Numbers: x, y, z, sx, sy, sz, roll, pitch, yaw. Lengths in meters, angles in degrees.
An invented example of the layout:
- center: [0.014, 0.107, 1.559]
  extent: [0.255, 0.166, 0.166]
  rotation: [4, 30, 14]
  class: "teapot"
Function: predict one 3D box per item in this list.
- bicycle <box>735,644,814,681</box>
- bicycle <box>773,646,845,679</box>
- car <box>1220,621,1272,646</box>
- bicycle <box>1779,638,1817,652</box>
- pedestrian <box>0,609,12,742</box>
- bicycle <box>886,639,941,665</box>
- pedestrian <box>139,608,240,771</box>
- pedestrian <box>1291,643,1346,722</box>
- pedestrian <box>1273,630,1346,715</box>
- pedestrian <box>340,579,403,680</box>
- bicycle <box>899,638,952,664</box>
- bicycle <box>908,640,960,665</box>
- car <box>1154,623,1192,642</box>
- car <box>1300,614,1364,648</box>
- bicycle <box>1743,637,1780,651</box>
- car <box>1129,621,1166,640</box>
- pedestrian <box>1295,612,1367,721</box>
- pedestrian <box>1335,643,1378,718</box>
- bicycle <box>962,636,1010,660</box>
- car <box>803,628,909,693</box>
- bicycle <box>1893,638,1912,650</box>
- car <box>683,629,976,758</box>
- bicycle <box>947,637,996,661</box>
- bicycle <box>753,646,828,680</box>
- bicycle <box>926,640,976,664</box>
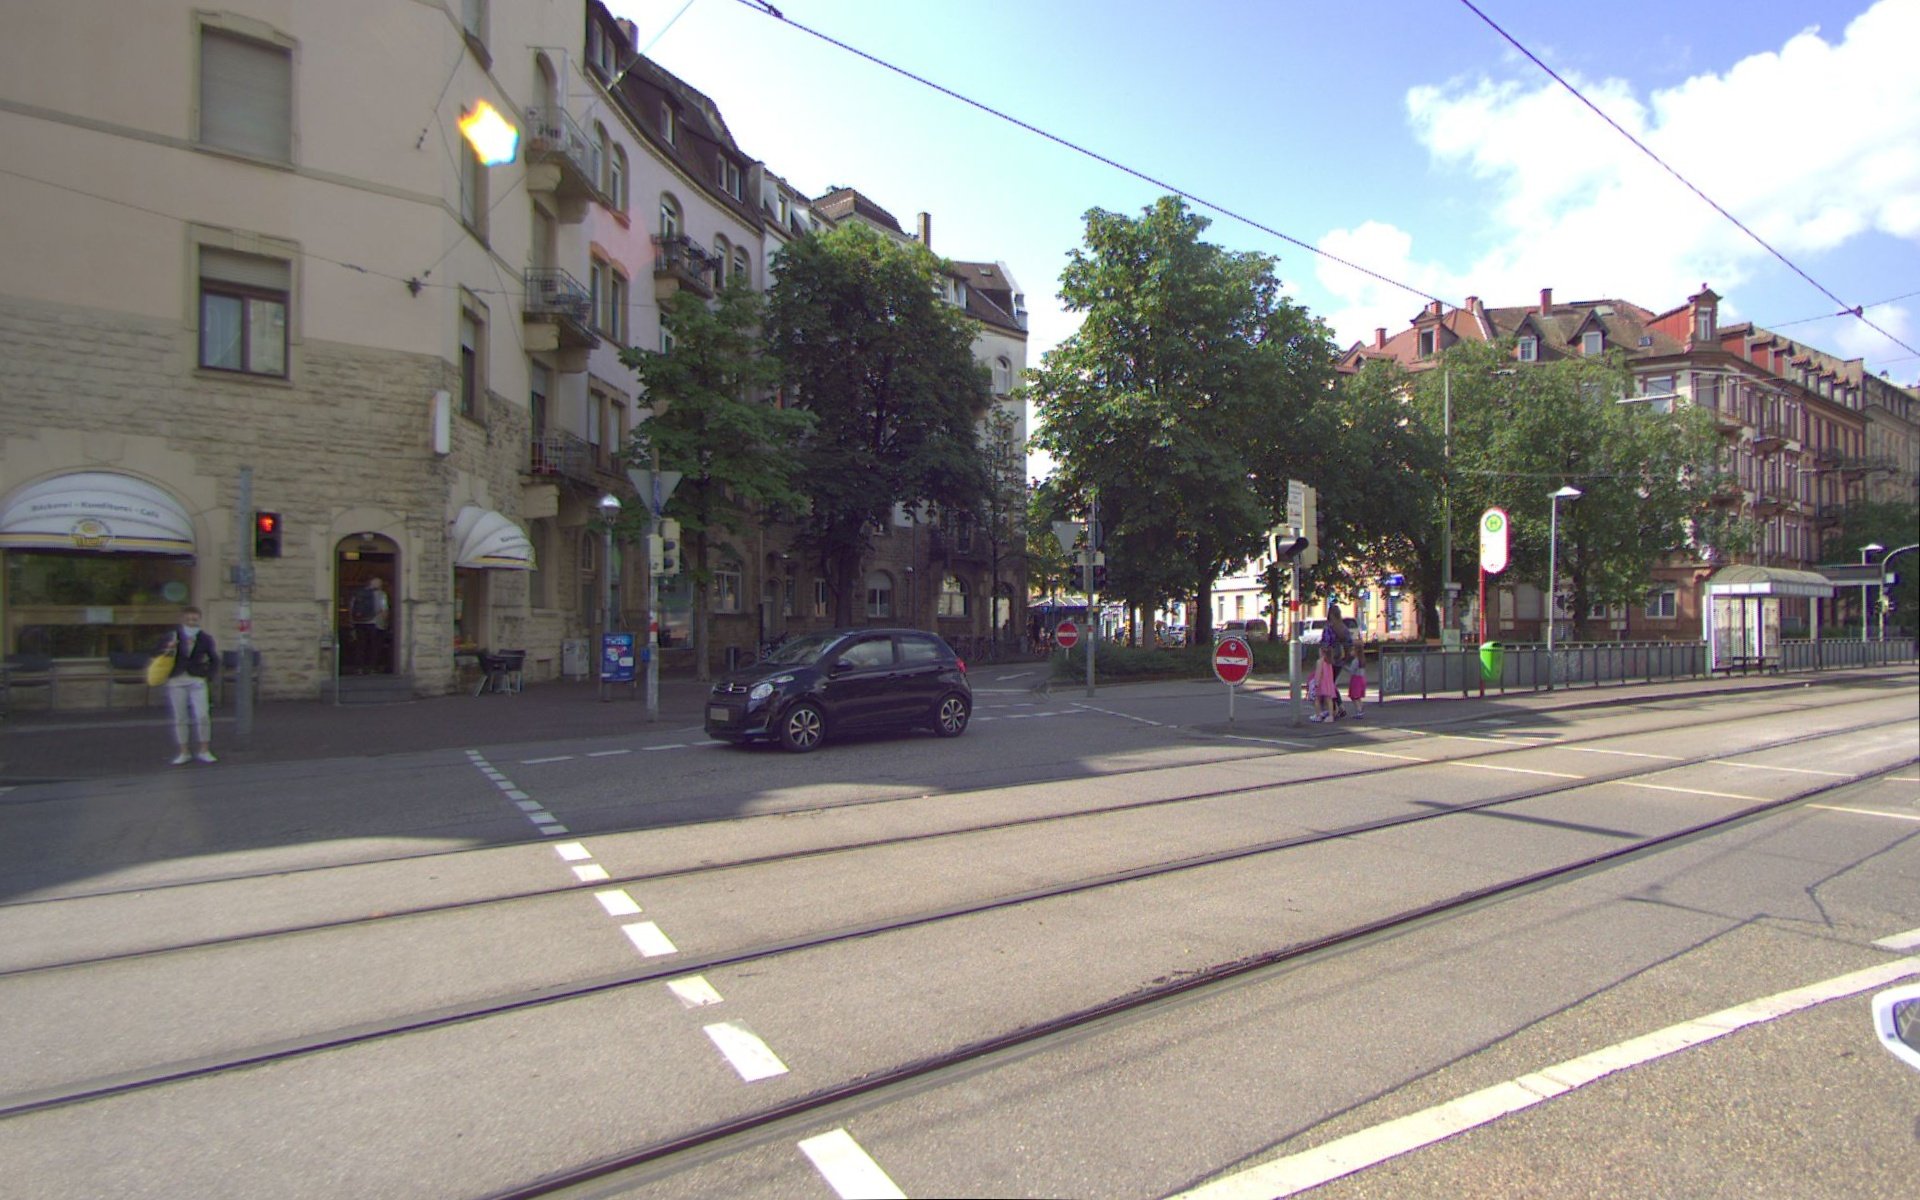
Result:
- center: [-4.933, 1.654, 26.738]
  extent: [1.990, 0.894, 0.523]
  rotation: [1, -1, 11]
  class: "bicycle"
- center: [-4.388, 1.807, 29.265]
  extent: [1.990, 0.894, 0.512]
  rotation: [1, -1, 11]
  class: "bicycle"
- center: [19.993, 2.357, 70.267]
  extent: [1.883, 1.685, 3.932]
  rotation: [0, -1, -12]
  class: "car"
- center: [45.276, 2.440, 54.274]
  extent: [1.677, 0.757, 0.386]
  rotation: [0, -1, 1]
  class: "bicycle"
- center: [-12.013, 0.904, 12.023]
  extent: [0.957, 1.562, 0.686]
  rotation: [0, 3, -44]
  class: "pedestrian"
- center: [-1.754, 1.950, 37.813]
  extent: [1.992, 0.910, 0.572]
  rotation: [1, -1, 22]
  class: "bicycle"
- center: [-8.720, 0.976, 11.397]
  extent: [0.865, 1.727, 0.751]
  rotation: [1, 3, -36]
  class: "pedestrian"
- center: [5.277, 1.200, 14.788]
  extent: [0.440, 1.128, 0.636]
  rotation: [1, -2, -40]
  class: "pedestrian"
- center: [5.587, 1.147, 16.050]
  extent: [0.711, 1.320, 0.819]
  rotation: [1, -4, -40]
  class: "pedestrian"
- center: [-10.178, 0.506, 17.375]
  extent: [0.849, 1.695, 0.814]
  rotation: [1, -1, -37]
  class: "pedestrian"
- center: [-1.339, 1.960, 38.700]
  extent: [1.992, 0.910, 0.572]
  rotation: [1, -1, 25]
  class: "bicycle"
- center: [-1.015, 2.039, 39.434]
  extent: [1.992, 0.910, 0.572]
  rotation: [1, -1, 25]
  class: "bicycle"
- center: [17.123, 2.586, 80.877]
  extent: [1.603, 1.513, 3.636]
  rotation: [0, -1, -15]
  class: "car"
- center: [22.411, 1.839, 60.615]
  extent: [1.824, 2.015, 3.940]
  rotation: [0, -1, -11]
  class: "car"
- center: [43.312, 2.386, 54.275]
  extent: [1.677, 0.757, 0.386]
  rotation: [0, -1, 1]
  class: "bicycle"
- center: [15.978, 2.591, 85.562]
  extent: [1.688, 1.575, 3.910]
  rotation: [0, -1, -13]
  class: "car"
- center: [5.623, 0.984, 15.220]
  extent: [0.793, 1.586, 0.722]
  rotation: [1, -2, -40]
  class: "pedestrian"
- center: [6.129, 1.238, 15.519]
  extent: [0.420, 1.122, 0.434]
  rotation: [1, -4, -40]
  class: "pedestrian"
- center: [1.094, 2.021, 42.427]
  extent: [1.994, 0.910, 0.571]
  rotation: [1, -1, 28]
  class: "bicycle"
- center: [-2.436, 1.416, 24.478]
  extent: [1.686, 1.439, 3.876]
  rotation: [0, -1, 8]
  class: "car"
- center: [54.979, 2.541, 58.600]
  extent: [1.691, 0.686, 0.383]
  rotation: [1, -1, -32]
  class: "bicycle"
- center: [-1.588, 1.100, 12.817]
  extent: [3.410, 1.405, 1.610]
  rotation: [1, -3, -42]
  class: "car"
- center: [0.475, 2.040, 41.766]
  extent: [1.994, 0.910, 0.571]
  rotation: [1, -1, 28]
  class: "bicycle"
- center: [-4.725, 1.753, 28.072]
  extent: [1.990, 0.894, 0.512]
  rotation: [1, -1, 11]
  class: "bicycle"
- center: [-0.379, 2.087, 40.633]
  extent: [1.994, 0.910, 0.571]
  rotation: [1, -1, 28]
  class: "bicycle"
